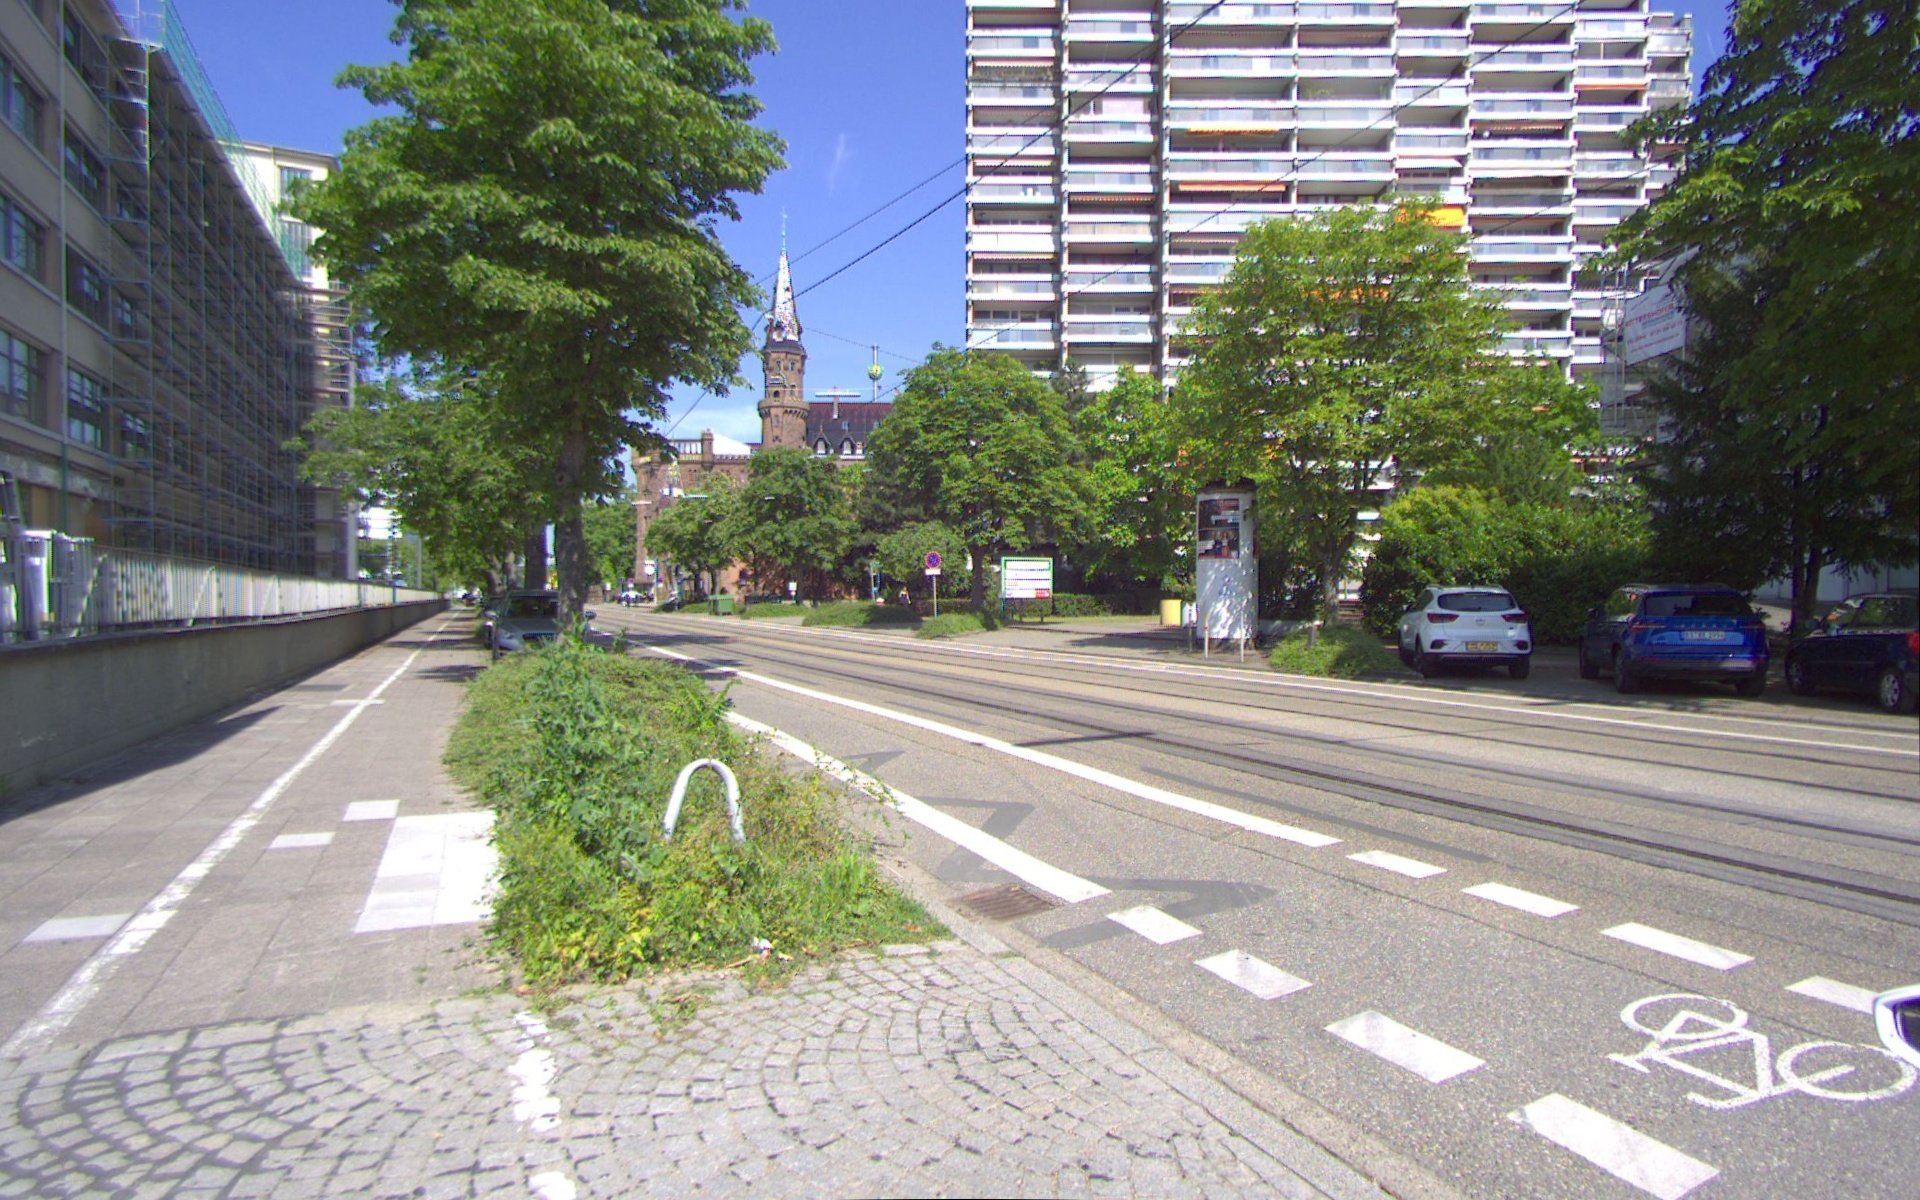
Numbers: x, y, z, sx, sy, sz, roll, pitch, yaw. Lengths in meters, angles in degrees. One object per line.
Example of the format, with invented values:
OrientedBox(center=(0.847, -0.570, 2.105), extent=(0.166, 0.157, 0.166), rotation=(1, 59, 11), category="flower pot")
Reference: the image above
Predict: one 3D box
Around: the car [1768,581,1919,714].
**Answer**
OrientedBox(center=(12.314, 0.561, 13.162), extent=(1.545, 1.551, 3.459), rotation=(0, 0, 18), category="car")

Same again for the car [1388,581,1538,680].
OrientedBox(center=(9.312, 0.538, 18.924), extent=(1.783, 1.627, 3.946), rotation=(-2, -1, 16), category="car")

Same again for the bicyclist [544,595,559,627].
OrientedBox(center=(-21.237, 0.558, 52.219), extent=(0.624, 1.628, 0.697), rotation=(0, 0, -28), category="bicyclist")

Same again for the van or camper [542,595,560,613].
OrientedBox(center=(-63.854, 0.646, 156.794), extent=(2.024, 2.655, 5.821), rotation=(0, 0, -27), category="van or camper")

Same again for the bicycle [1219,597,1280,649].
OrientedBox(center=(7.609, 0.587, 26.470), extent=(0.541, 1.326, 1.607), rotation=(0, 0, -31), category="bicycle")

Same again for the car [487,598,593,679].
OrientedBox(center=(-8.818, 0.738, 20.907), extent=(1.797, 1.514, 4.080), rotation=(0, 0, -26), category="car")

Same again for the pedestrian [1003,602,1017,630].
OrientedBox(center=(2.117, 0.663, 42.707), extent=(0.524, 1.169, 0.701), rotation=(0, 0, -5), category="pedestrian")

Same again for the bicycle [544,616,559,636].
OrientedBox(center=(-21.225, 1.335, 52.199), extent=(0.590, 1.020, 1.476), rotation=(0, 0, -28), category="bicycle")

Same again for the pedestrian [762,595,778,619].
OrientedBox(center=(-14.856, 0.534, 78.600), extent=(1.044, 1.822, 1.259), rotation=(2, 0, -20), category="pedestrian")

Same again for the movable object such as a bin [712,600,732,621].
OrientedBox(center=(-16.862, 0.733, 71.193), extent=(1.247, 1.473, 1.074), rotation=(1, 0, -21), category="movable object such as a bin")

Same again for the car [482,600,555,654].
OrientedBox(center=(-13.086, 0.759, 29.656), extent=(1.797, 1.472, 3.973), rotation=(0, 0, -26), category="car")

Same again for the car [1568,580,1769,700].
OrientedBox(center=(11.003, 0.520, 15.908), extent=(1.746, 1.644, 3.943), rotation=(-1, 1, 22), category="car")
